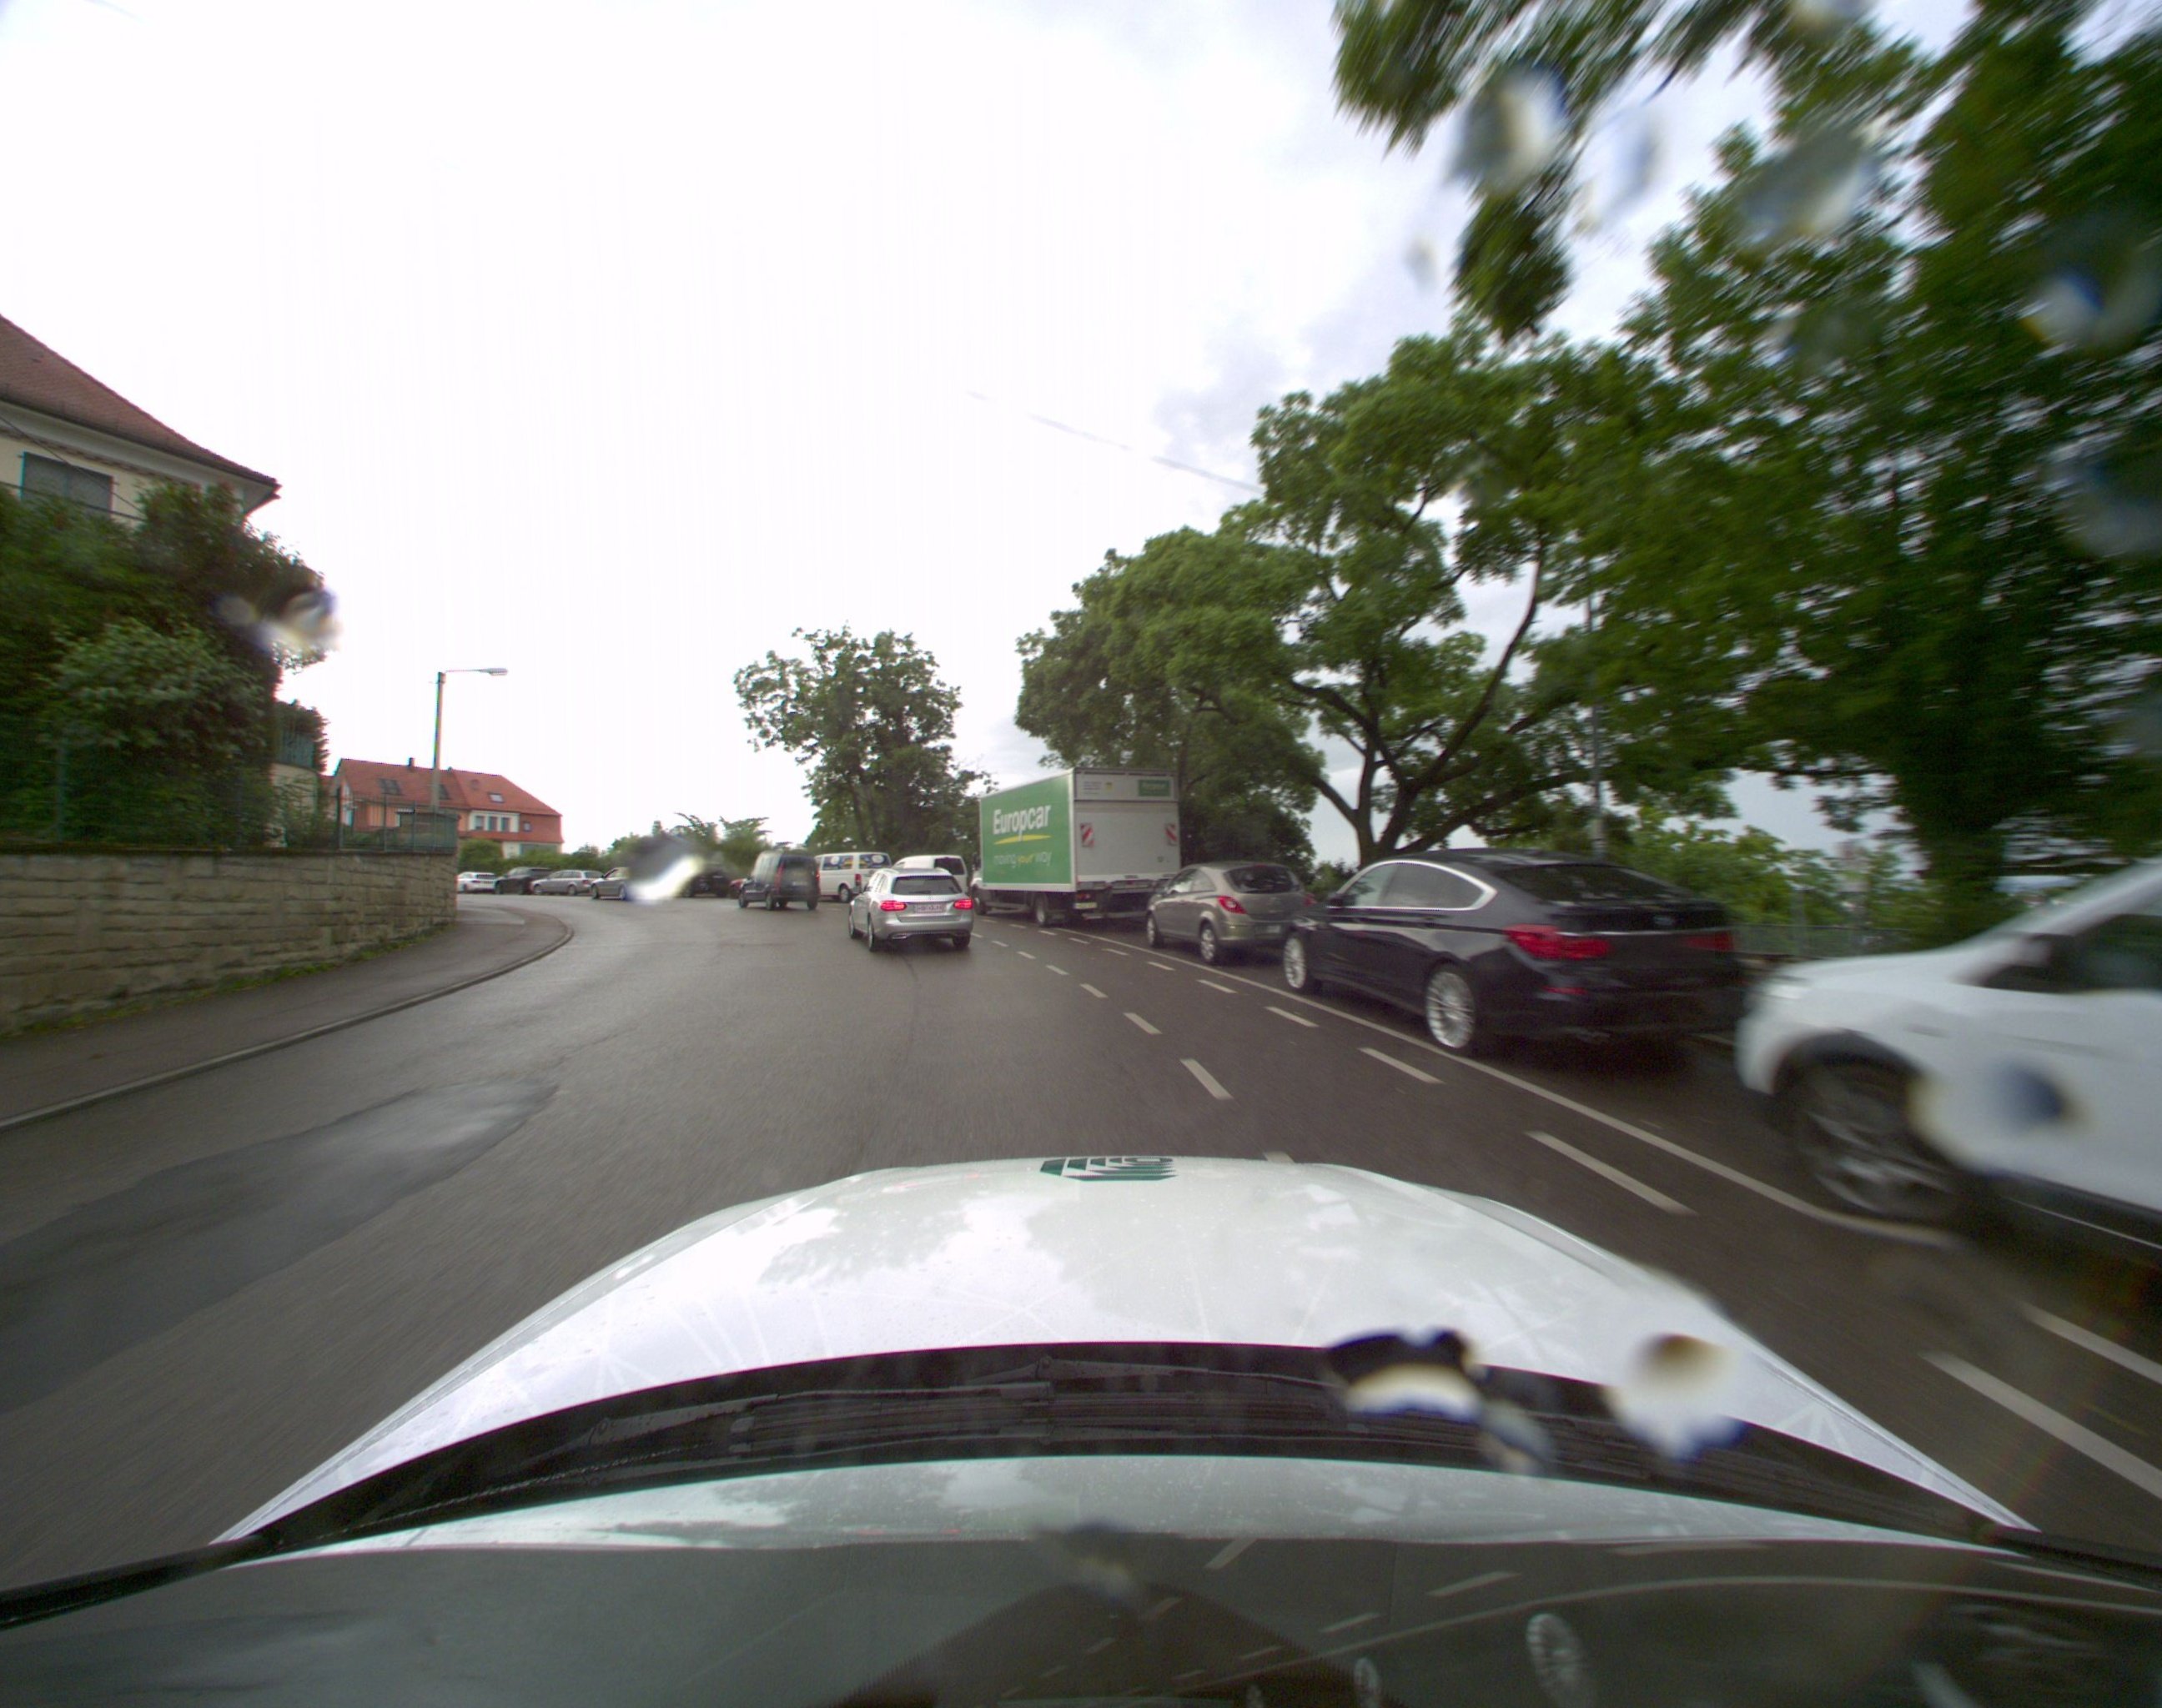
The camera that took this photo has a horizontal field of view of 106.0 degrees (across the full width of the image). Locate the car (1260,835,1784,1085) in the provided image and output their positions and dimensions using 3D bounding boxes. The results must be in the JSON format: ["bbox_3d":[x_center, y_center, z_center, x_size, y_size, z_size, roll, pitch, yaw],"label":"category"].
[{"bbox_3d":[3.424,0.672,7.691,1.858,1.542,4.883,-1,0,-7],"label":"car"}]

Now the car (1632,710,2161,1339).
[{"bbox_3d":[4.006,0.454,2.114,1.745,1.821,4.412,-3,0,-7],"label":"car"}]

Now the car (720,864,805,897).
[{"bbox_3d":[-14.532,1.194,37.158,3.694,1.414,1.687,-1,-2,31],"label":"car"}]

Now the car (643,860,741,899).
[{"bbox_3d":[-19.131,1.231,39.969,4.835,1.783,2.046,-1,-2,33],"label":"car"}]

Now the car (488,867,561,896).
[{"bbox_3d":[-33.696,1.698,49.296,4.489,1.663,1.904,-1,-4,31],"label":"car"}]

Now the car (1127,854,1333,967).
[{"bbox_3d":[2.243,0.795,13.455,1.737,1.503,4.114,-2,0,-15],"label":"car"}]

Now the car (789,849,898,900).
[{"bbox_3d":[-9.773,0.823,33.326,4.745,1.948,1.878,-1,-1,39],"label":"car"}]

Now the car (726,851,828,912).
[{"bbox_3d":[-10.614,0.949,28.293,1.840,1.882,4.045,-3,0,-43],"label":"car"}]

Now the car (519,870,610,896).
[{"bbox_3d":[-29.283,1.643,46.198,4.589,1.440,1.813,0,-3,18],"label":"car"}]

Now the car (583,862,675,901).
[{"bbox_3d":[-19.391,1.198,34.909,4.042,1.458,1.872,-3,0,36],"label":"car"}]

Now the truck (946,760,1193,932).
[{"bbox_3d":[-0.802,-0.160,21.060,2.788,3.470,8.857,-2,0,-26],"label":"truck"}]

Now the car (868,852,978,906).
[{"bbox_3d":[-5.710,0.864,29.111,1.876,1.770,4.325,0,-1,-43],"label":"car"}]

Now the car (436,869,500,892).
[{"bbox_3d":[-39.857,1.746,52.917,4.548,1.406,1.729,-1,-4,32],"label":"car"}]

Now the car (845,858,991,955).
[{"bbox_3d":[-3.304,0.902,15.781,1.991,1.554,4.265,-1,0,-22],"label":"car"}]
